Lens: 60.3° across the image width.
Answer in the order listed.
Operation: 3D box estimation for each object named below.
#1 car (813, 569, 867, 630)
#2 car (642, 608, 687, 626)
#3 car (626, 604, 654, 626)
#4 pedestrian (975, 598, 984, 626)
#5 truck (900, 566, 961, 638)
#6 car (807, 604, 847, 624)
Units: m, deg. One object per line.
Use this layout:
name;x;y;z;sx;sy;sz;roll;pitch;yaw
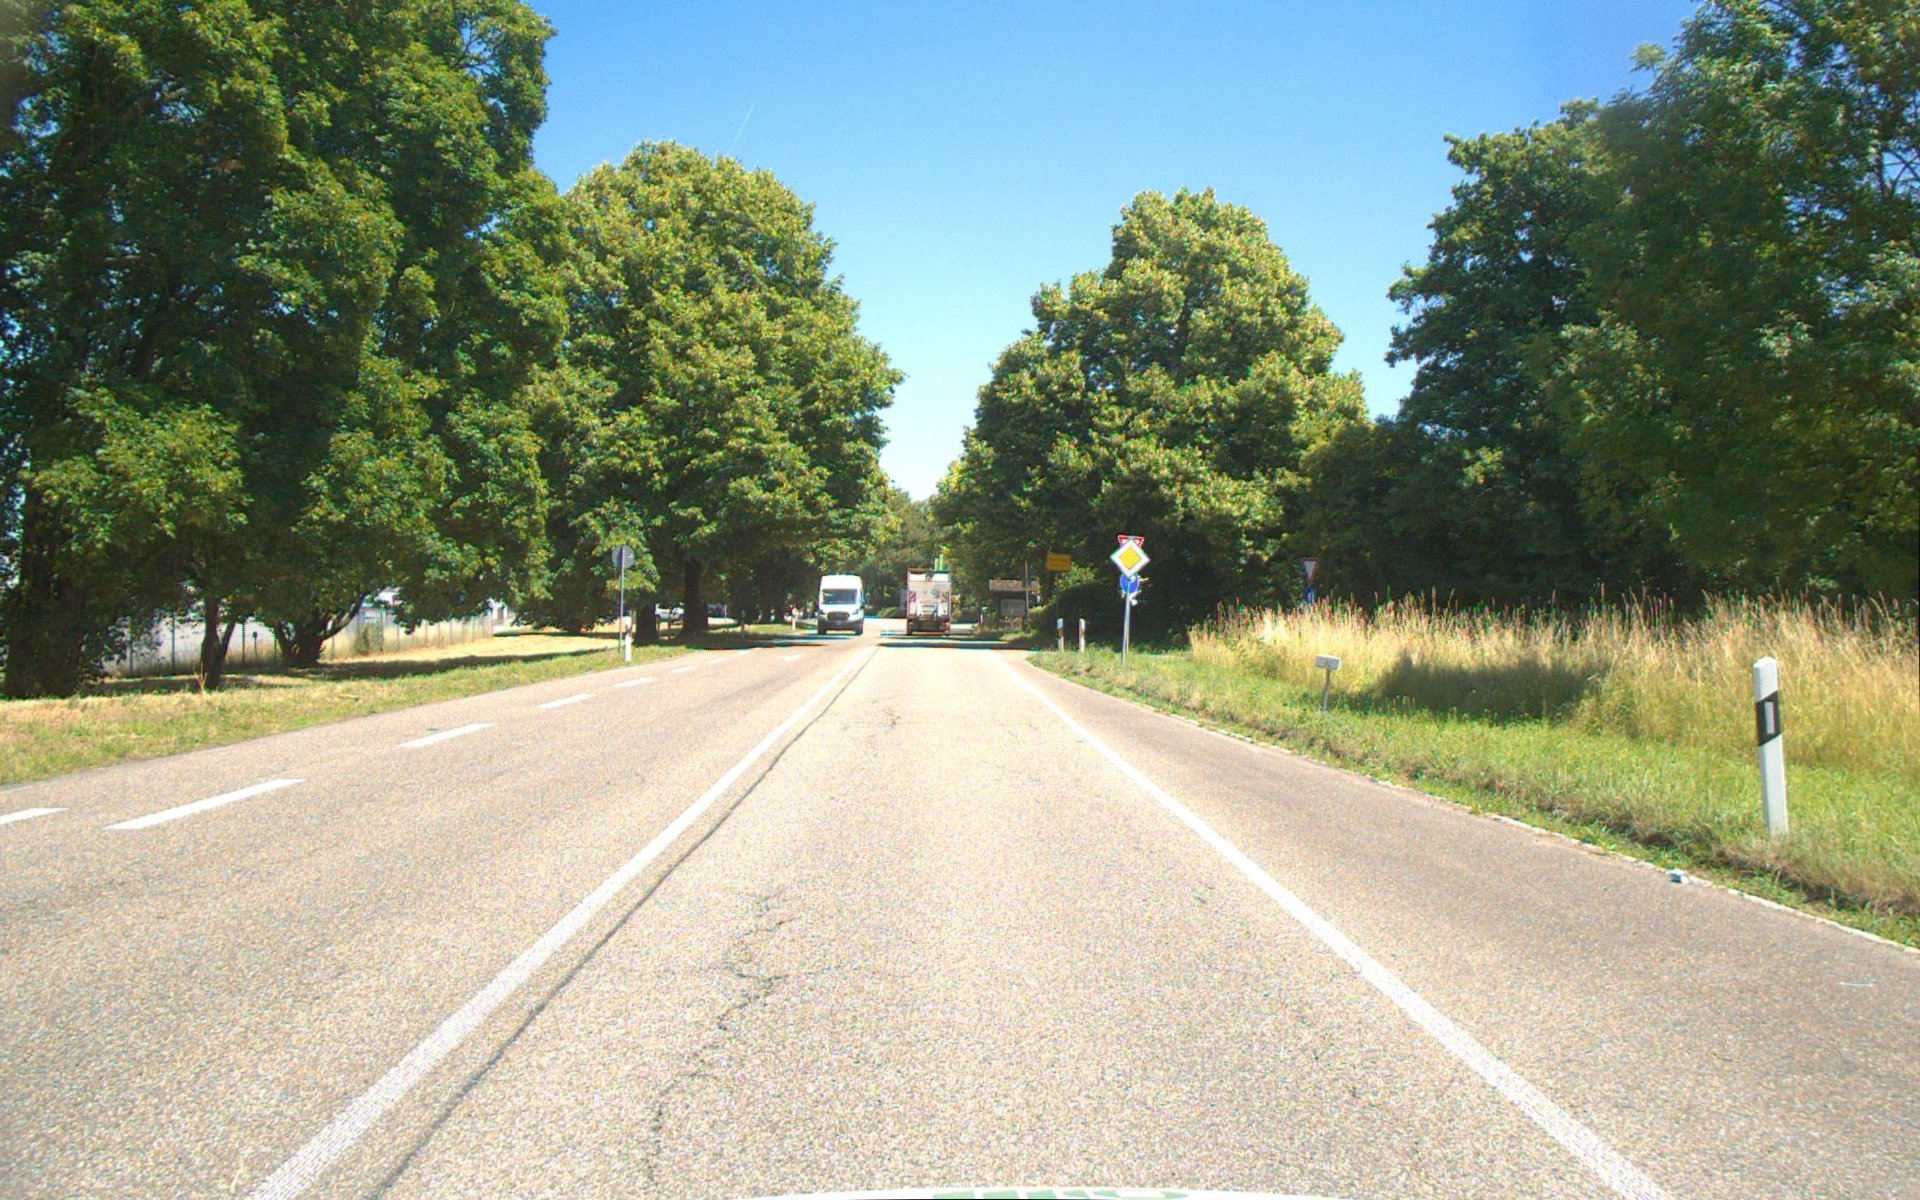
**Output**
car;-5.502;-0.002;76.616;2.031;2.673;6.783;0;-1;0
car;-22.748;1.285;127.405;3.360;1.386;1.332;0;-1;31
car;-23.568;1.108;121.874;1.708;1.613;3.982;0;0;-16
pedestrian;1.298;0.800;109.090;0.536;1.807;0.577;0;-1;3
truck;-1.308;0.068;76.773;2.481;3.190;5.363;0;0;3
car;-12.527;1.315;154.994;1.969;1.889;5.271;0;-1;-26
